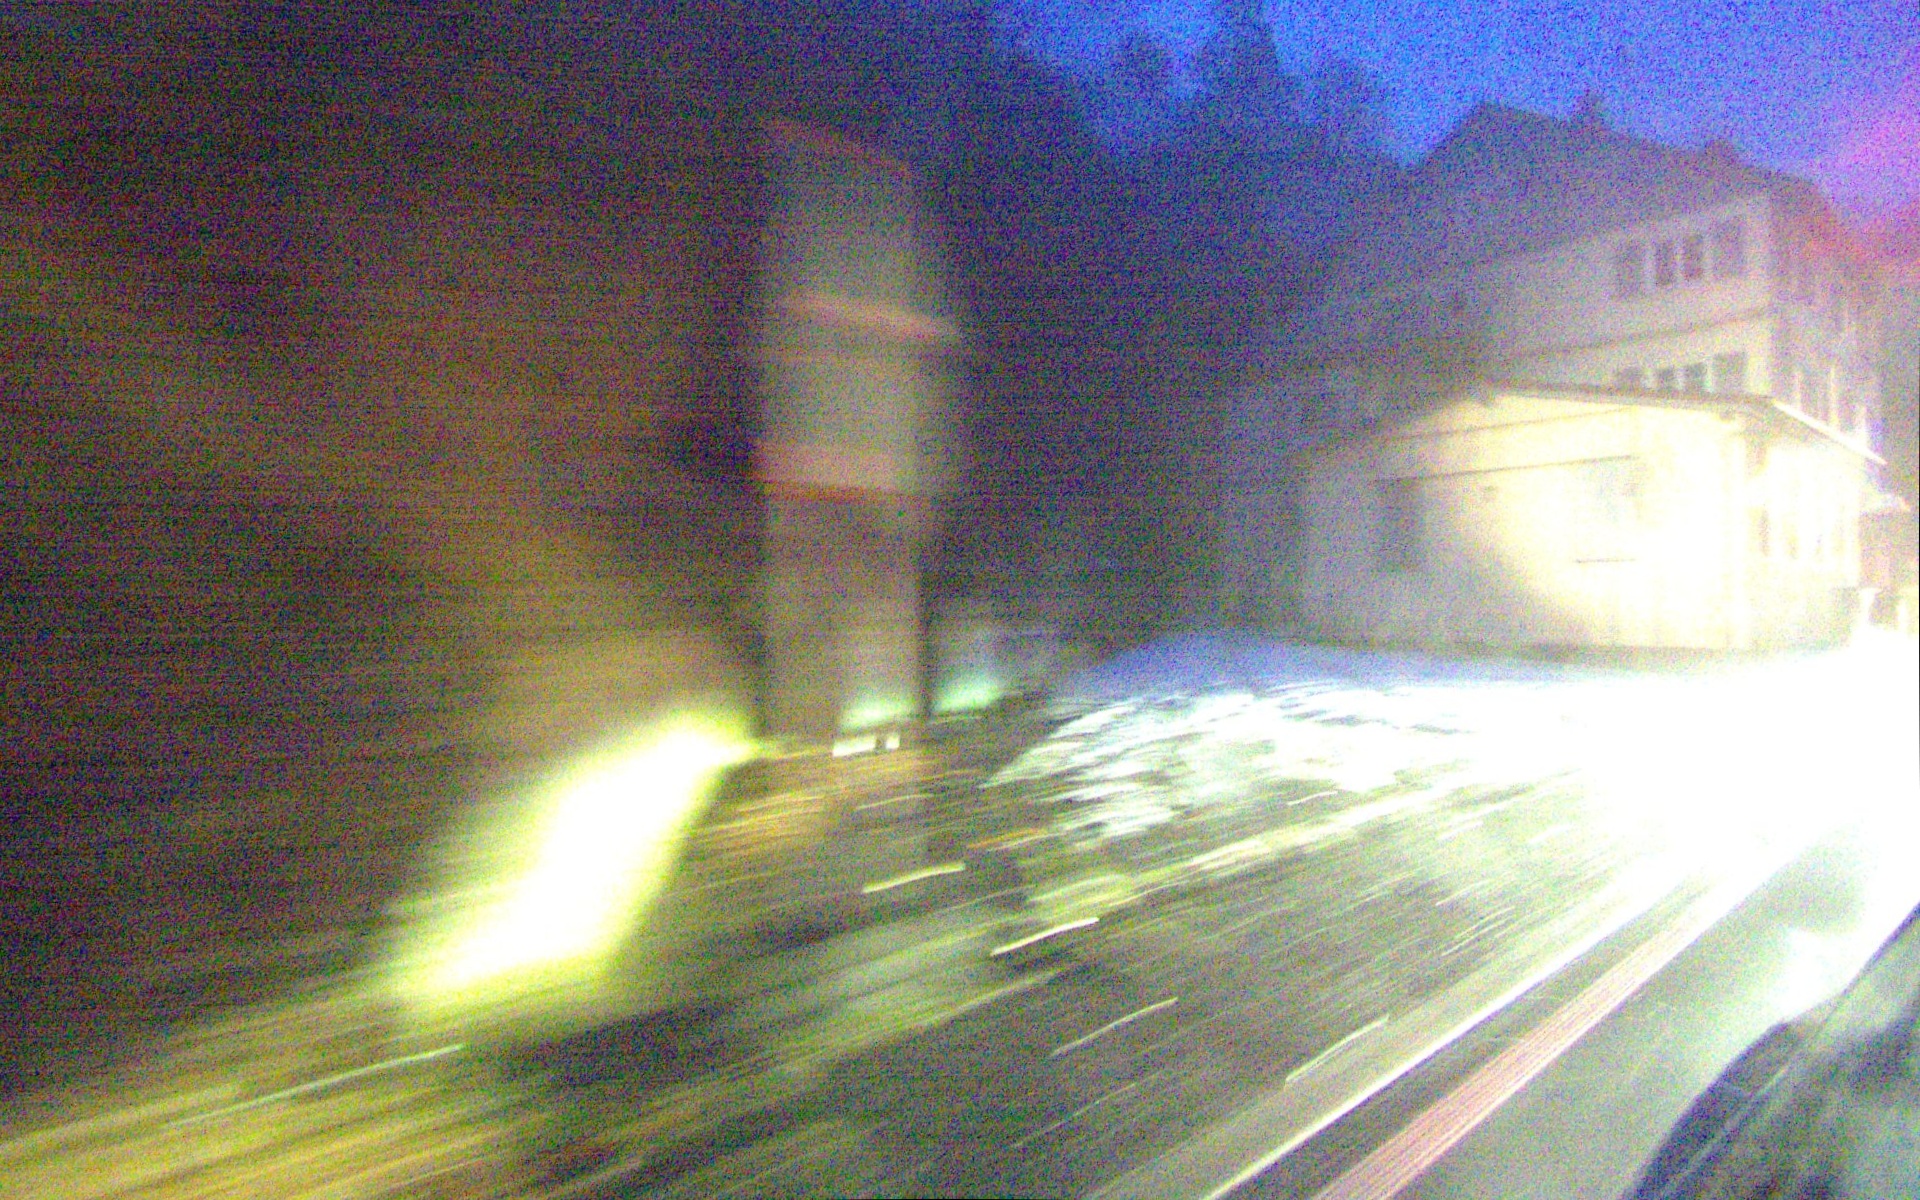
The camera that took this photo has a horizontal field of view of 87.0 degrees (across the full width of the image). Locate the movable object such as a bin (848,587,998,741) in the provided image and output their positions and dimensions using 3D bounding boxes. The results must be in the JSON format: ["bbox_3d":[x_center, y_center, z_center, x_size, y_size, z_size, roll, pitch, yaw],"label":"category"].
[{"bbox_3d":[-0.321,0.560,9.736,1.137,1.341,1.227,1,1,15],"label":"movable object such as a bin"}]

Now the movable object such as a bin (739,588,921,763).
[{"bbox_3d":[-1.070,0.577,8.665,1.158,1.325,1.318,1,1,13],"label":"movable object such as a bin"}]

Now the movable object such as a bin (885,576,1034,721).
[{"bbox_3d":[0.031,0.475,11.088,1.236,1.430,1.383,0,3,21],"label":"movable object such as a bin"}]

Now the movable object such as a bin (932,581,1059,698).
[{"bbox_3d":[0.465,0.446,12.541,1.236,1.314,1.310,0,3,21],"label":"movable object such as a bin"}]
